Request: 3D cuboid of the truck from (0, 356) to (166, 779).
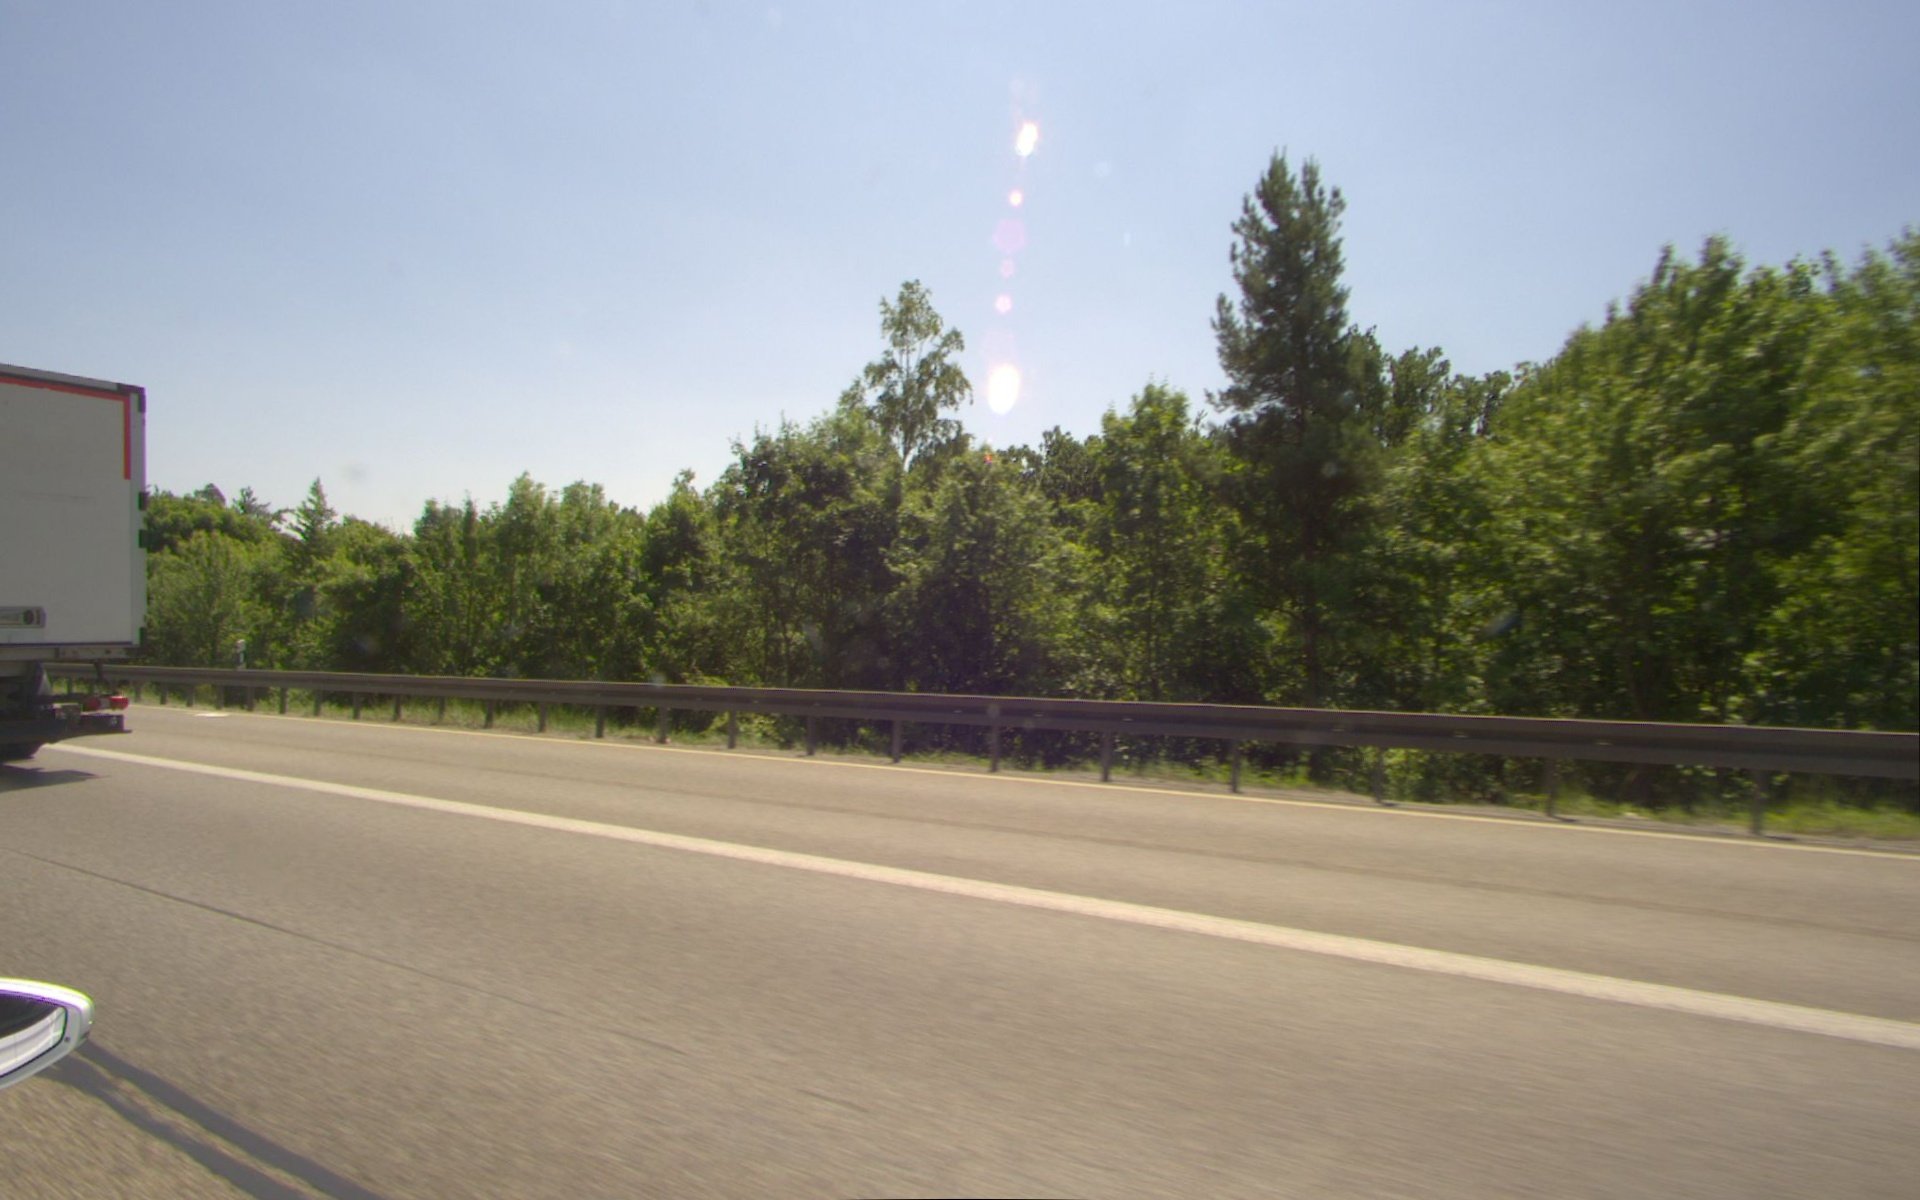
[{"bbox_3d":[-13.079,-0.245,11.745,9.636,3.927,2.683,-1,0,31],"label":"truck"}]
